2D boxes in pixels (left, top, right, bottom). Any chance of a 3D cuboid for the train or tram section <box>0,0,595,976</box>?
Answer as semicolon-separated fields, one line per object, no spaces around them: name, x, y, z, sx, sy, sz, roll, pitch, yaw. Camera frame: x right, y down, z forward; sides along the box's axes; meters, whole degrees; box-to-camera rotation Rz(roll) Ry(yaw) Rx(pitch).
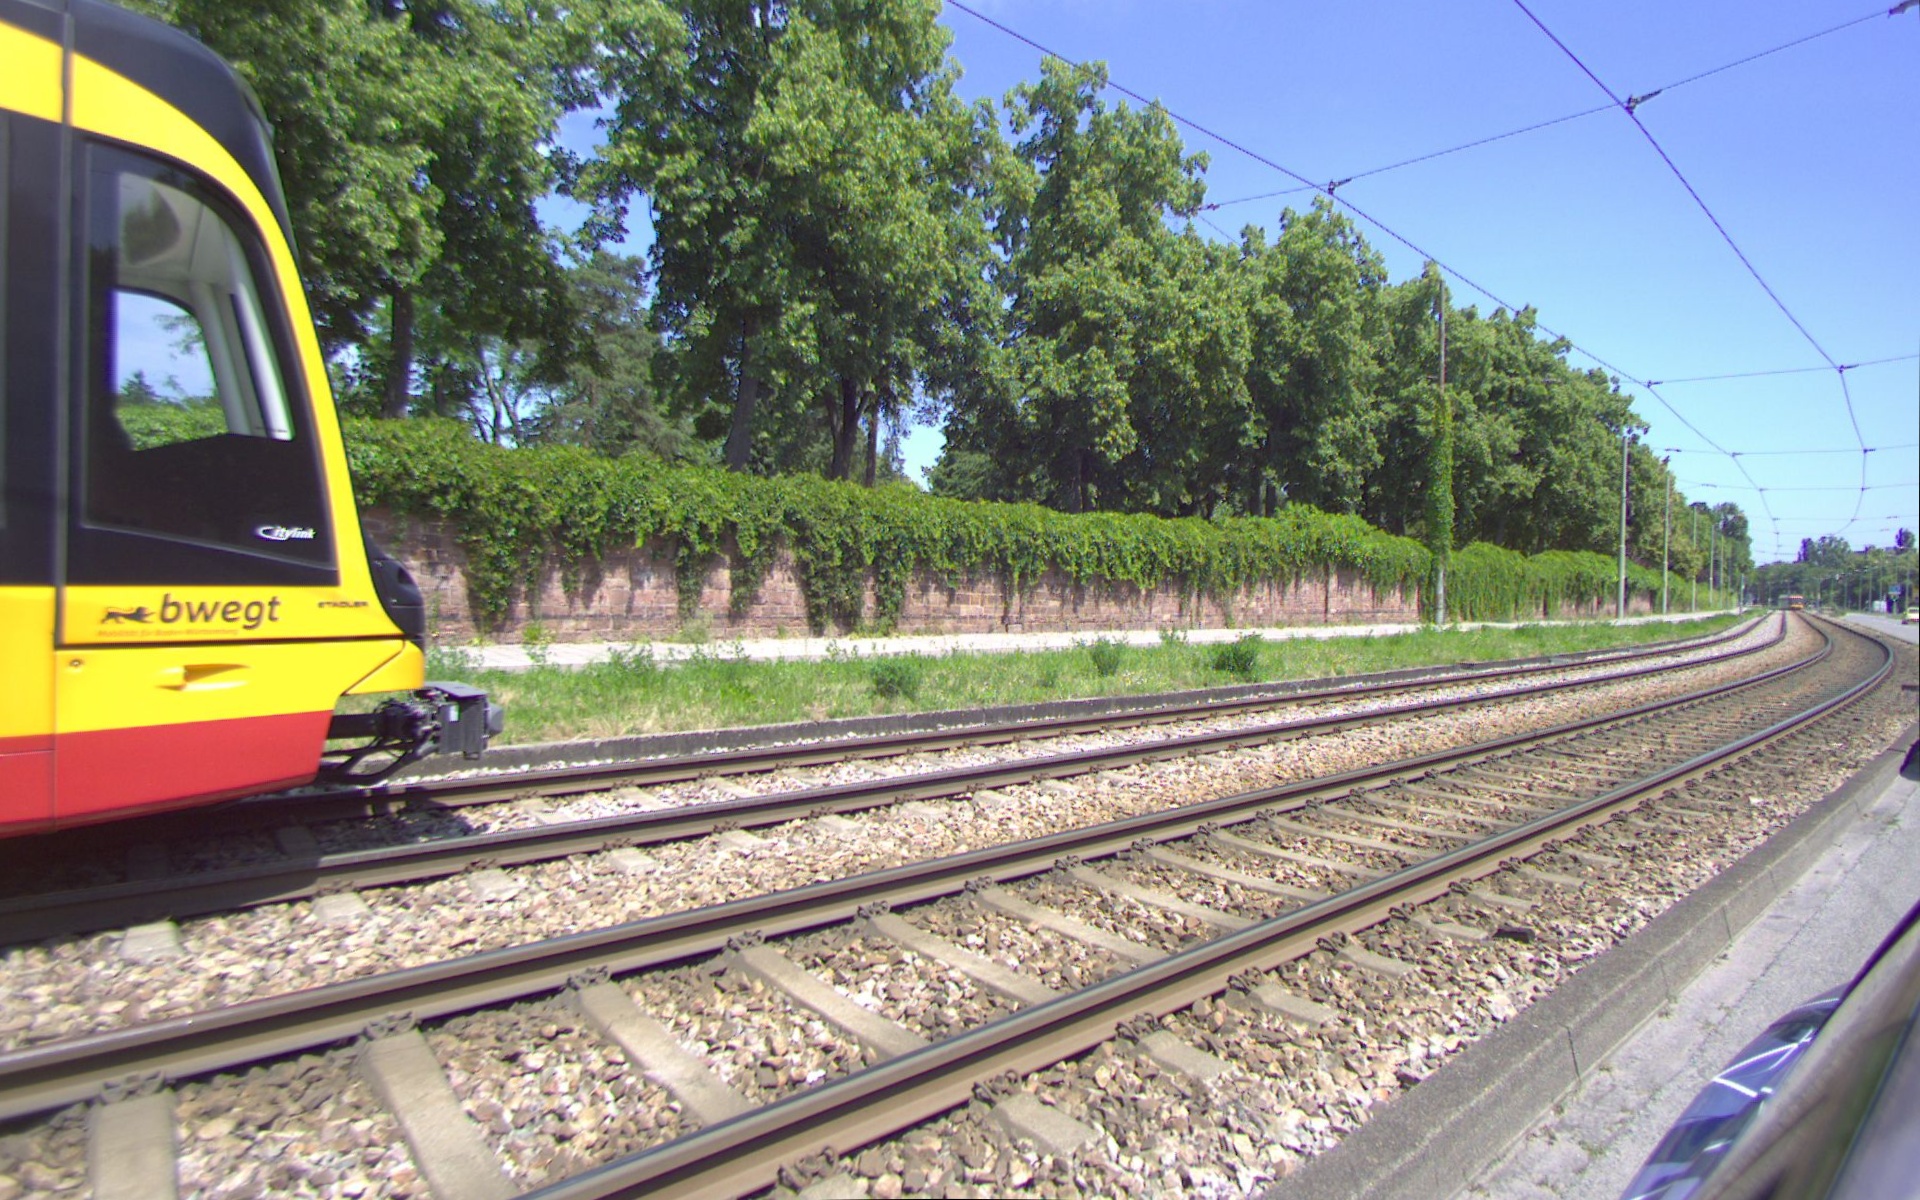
train or tram section;-7.506;-0.796;1.443;12.855;3.845;3.035;0;2;-40

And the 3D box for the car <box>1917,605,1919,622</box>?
car;81.463;1.140;84.751;1.688;1.429;3.464;1;0;40
